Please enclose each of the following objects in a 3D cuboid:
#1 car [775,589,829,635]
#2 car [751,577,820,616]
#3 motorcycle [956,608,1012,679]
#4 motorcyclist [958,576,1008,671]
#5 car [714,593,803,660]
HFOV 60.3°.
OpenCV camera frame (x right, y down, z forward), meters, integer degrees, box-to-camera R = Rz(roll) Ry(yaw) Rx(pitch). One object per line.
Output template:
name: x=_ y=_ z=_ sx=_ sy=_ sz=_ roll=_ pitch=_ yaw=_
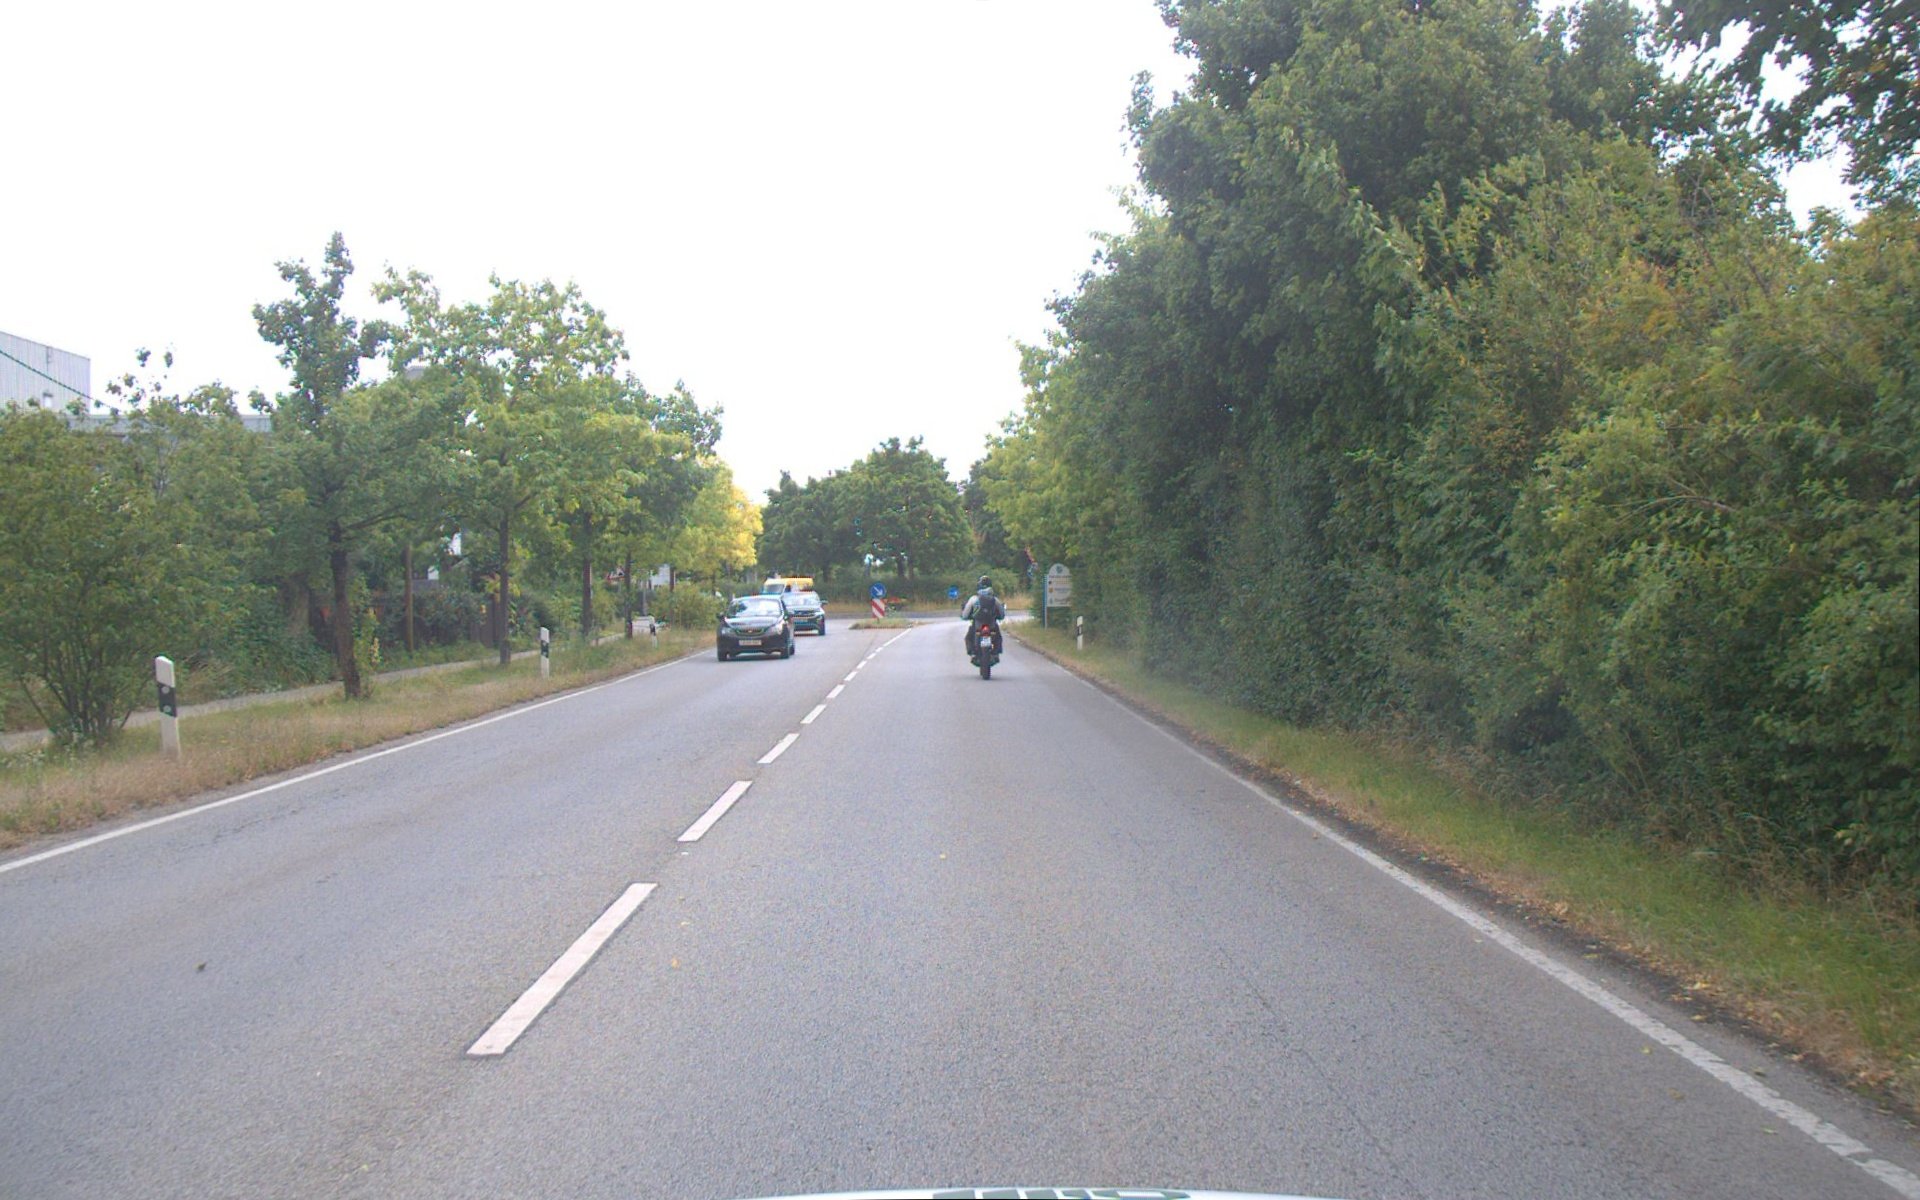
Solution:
car: x=-5.679 y=0.409 z=59.761 sx=1.699 sy=1.561 sz=4.093 roll=-2 pitch=0 yaw=-3
car: x=-11.770 y=-0.269 z=111.931 sx=2.119 sy=2.494 sz=5.438 roll=-1 pitch=1 yaw=25
motorcycle: x=0.409 y=0.745 z=29.426 sx=0.878 sy=1.178 sz=2.619 roll=-1 pitch=0 yaw=-1
motorcyclist: x=0.403 y=0.405 z=29.538 sx=0.844 sy=1.652 sz=1.190 roll=-1 pitch=0 yaw=-2
car: x=-4.714 y=0.587 z=39.148 sx=1.643 sy=1.436 sz=4.011 roll=-2 pitch=0 yaw=-1
